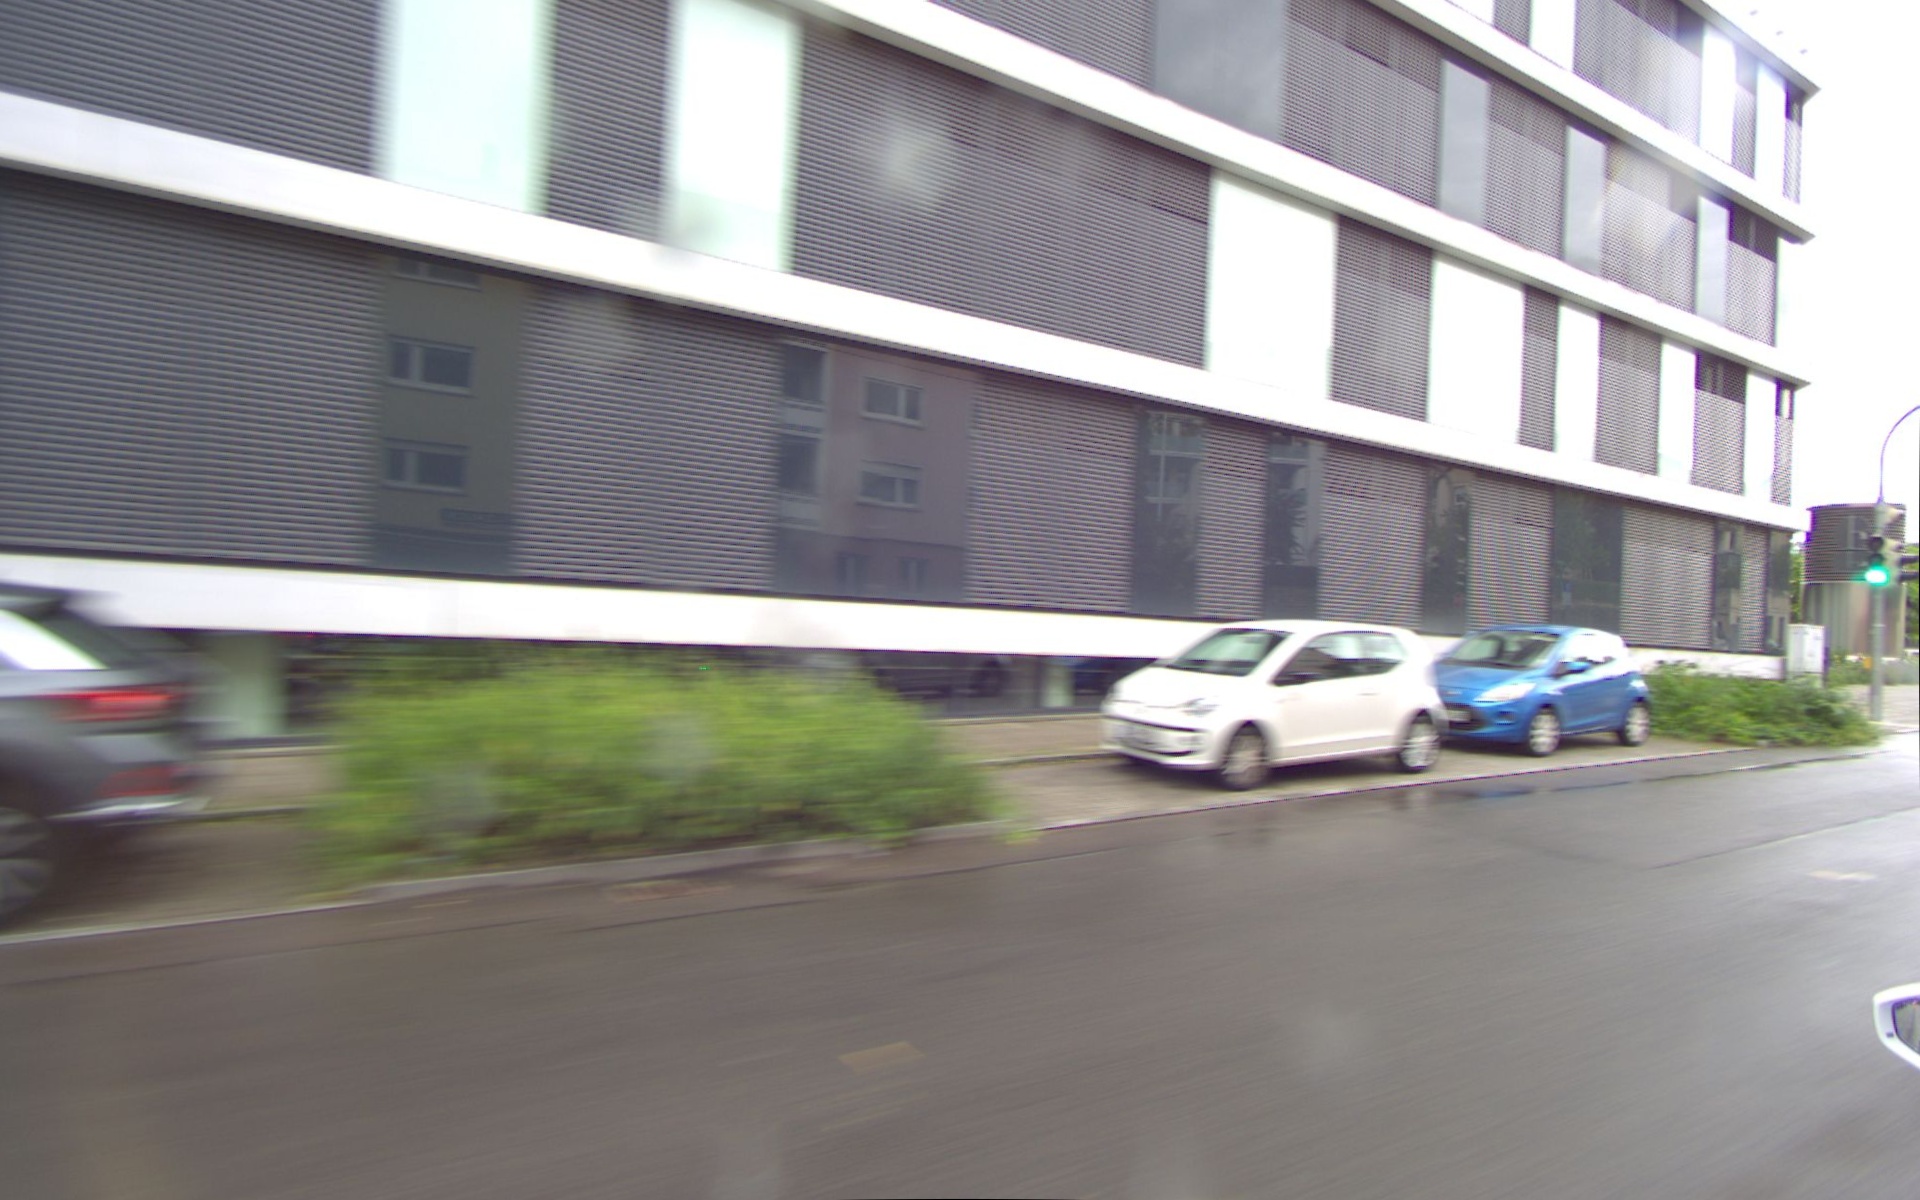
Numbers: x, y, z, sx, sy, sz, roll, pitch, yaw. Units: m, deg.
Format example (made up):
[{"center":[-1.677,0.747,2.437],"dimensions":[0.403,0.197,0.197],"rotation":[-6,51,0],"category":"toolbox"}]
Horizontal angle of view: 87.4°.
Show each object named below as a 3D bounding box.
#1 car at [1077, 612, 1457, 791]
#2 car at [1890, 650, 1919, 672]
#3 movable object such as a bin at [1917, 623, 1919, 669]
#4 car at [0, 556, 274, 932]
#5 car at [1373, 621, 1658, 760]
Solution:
[{"center":[3.094,0.913,10.016],"dimensions":[3.541,1.486,1.630],"rotation":[2,-1,-30],"category":"car"},{"center":[82.916,5.279,85.925],"dimensions":[4.597,1.858,2.002],"rotation":[1,-2,12],"category":"car"},{"center":[51.914,2.442,51.844],"dimensions":[1.638,2.492,5.289],"rotation":[2,-1,20],"category":"movable object such as a bin"},{"center":[-5.811,0.557,4.480],"dimensions":[4.309,1.610,1.874],"rotation":[2,1,-29],"category":"car"},{"center":[7.005,1.055,12.604],"dimensions":[3.544,1.486,1.628],"rotation":[2,-1,-32],"category":"car"}]
